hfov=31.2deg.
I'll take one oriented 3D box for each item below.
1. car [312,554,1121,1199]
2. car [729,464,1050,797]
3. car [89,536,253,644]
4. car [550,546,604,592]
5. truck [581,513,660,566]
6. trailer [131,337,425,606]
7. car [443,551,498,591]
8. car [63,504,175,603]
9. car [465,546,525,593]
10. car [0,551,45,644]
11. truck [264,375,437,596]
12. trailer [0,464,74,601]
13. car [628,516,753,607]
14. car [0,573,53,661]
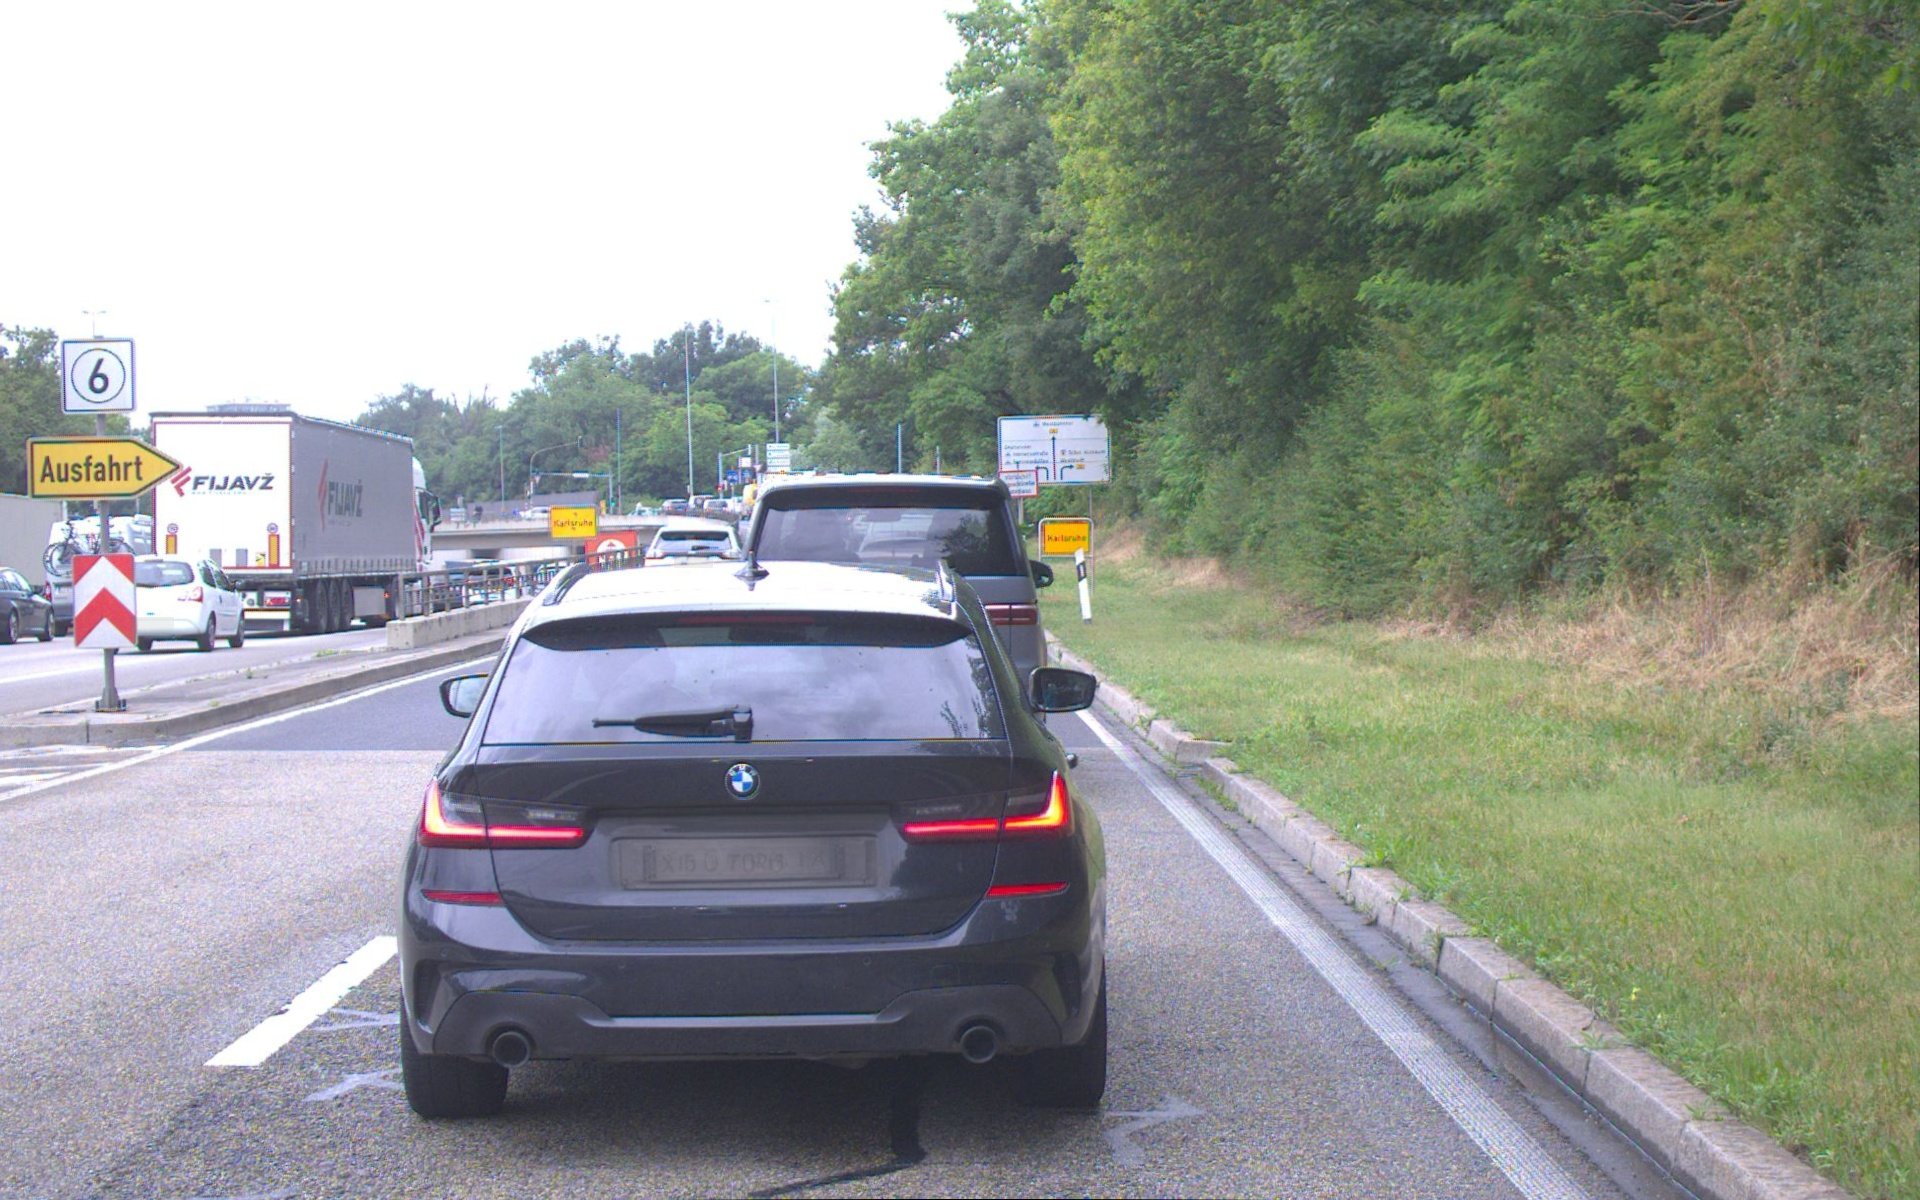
[{"bbox_3d":[-0.636,0.617,9.896,1.846,1.461,4.001,0,1,-2],"label":"car"},{"bbox_3d":[-0.419,0.135,21.408,1.796,1.865,4.000,0,1,-1],"label":"car"},{"bbox_3d":[-11.917,-0.173,52.105,1.768,1.544,3.493,-1,1,-2],"label":"car"},{"bbox_3d":[-12.845,-1.036,115.527,1.448,1.485,3.062,-1,1,0],"label":"car"},{"bbox_3d":[-16.920,-3.030,171.660,3.274,2.500,7.661,-1,1,-1],"label":"truck"},{"bbox_3d":[-13.126,-2.381,67.761,3.132,4.709,14.559,0,1,-1],"label":"trailer"},{"bbox_3d":[-18.123,-1.084,127.405,1.593,1.427,3.062,-1,1,0],"label":"car"},{"bbox_3d":[-17.891,-1.008,73.236,1.443,2.037,3.680,-1,1,0],"label":"car"},{"bbox_3d":[-14.197,-0.941,105.015,1.377,1.393,3.062,-1,1,0],"label":"car"},{"bbox_3d":[-17.931,-0.074,62.520,1.687,1.626,3.735,0,1,-2],"label":"car"},{"bbox_3d":[-13.257,-2.464,75.114,3.083,4.681,4.232,0,1,-1],"label":"truck"},{"bbox_3d":[-29.485,-2.010,103.762,2.397,4.015,13.079,-1,1,-2],"label":"trailer"},{"bbox_3d":[-4.914,-0.732,63.158,1.931,1.590,3.877,-1,1,0],"label":"car"},{"bbox_3d":[-15.308,0.259,53.725,1.385,1.302,3.351,-1,1,-1],"label":"car"}]
